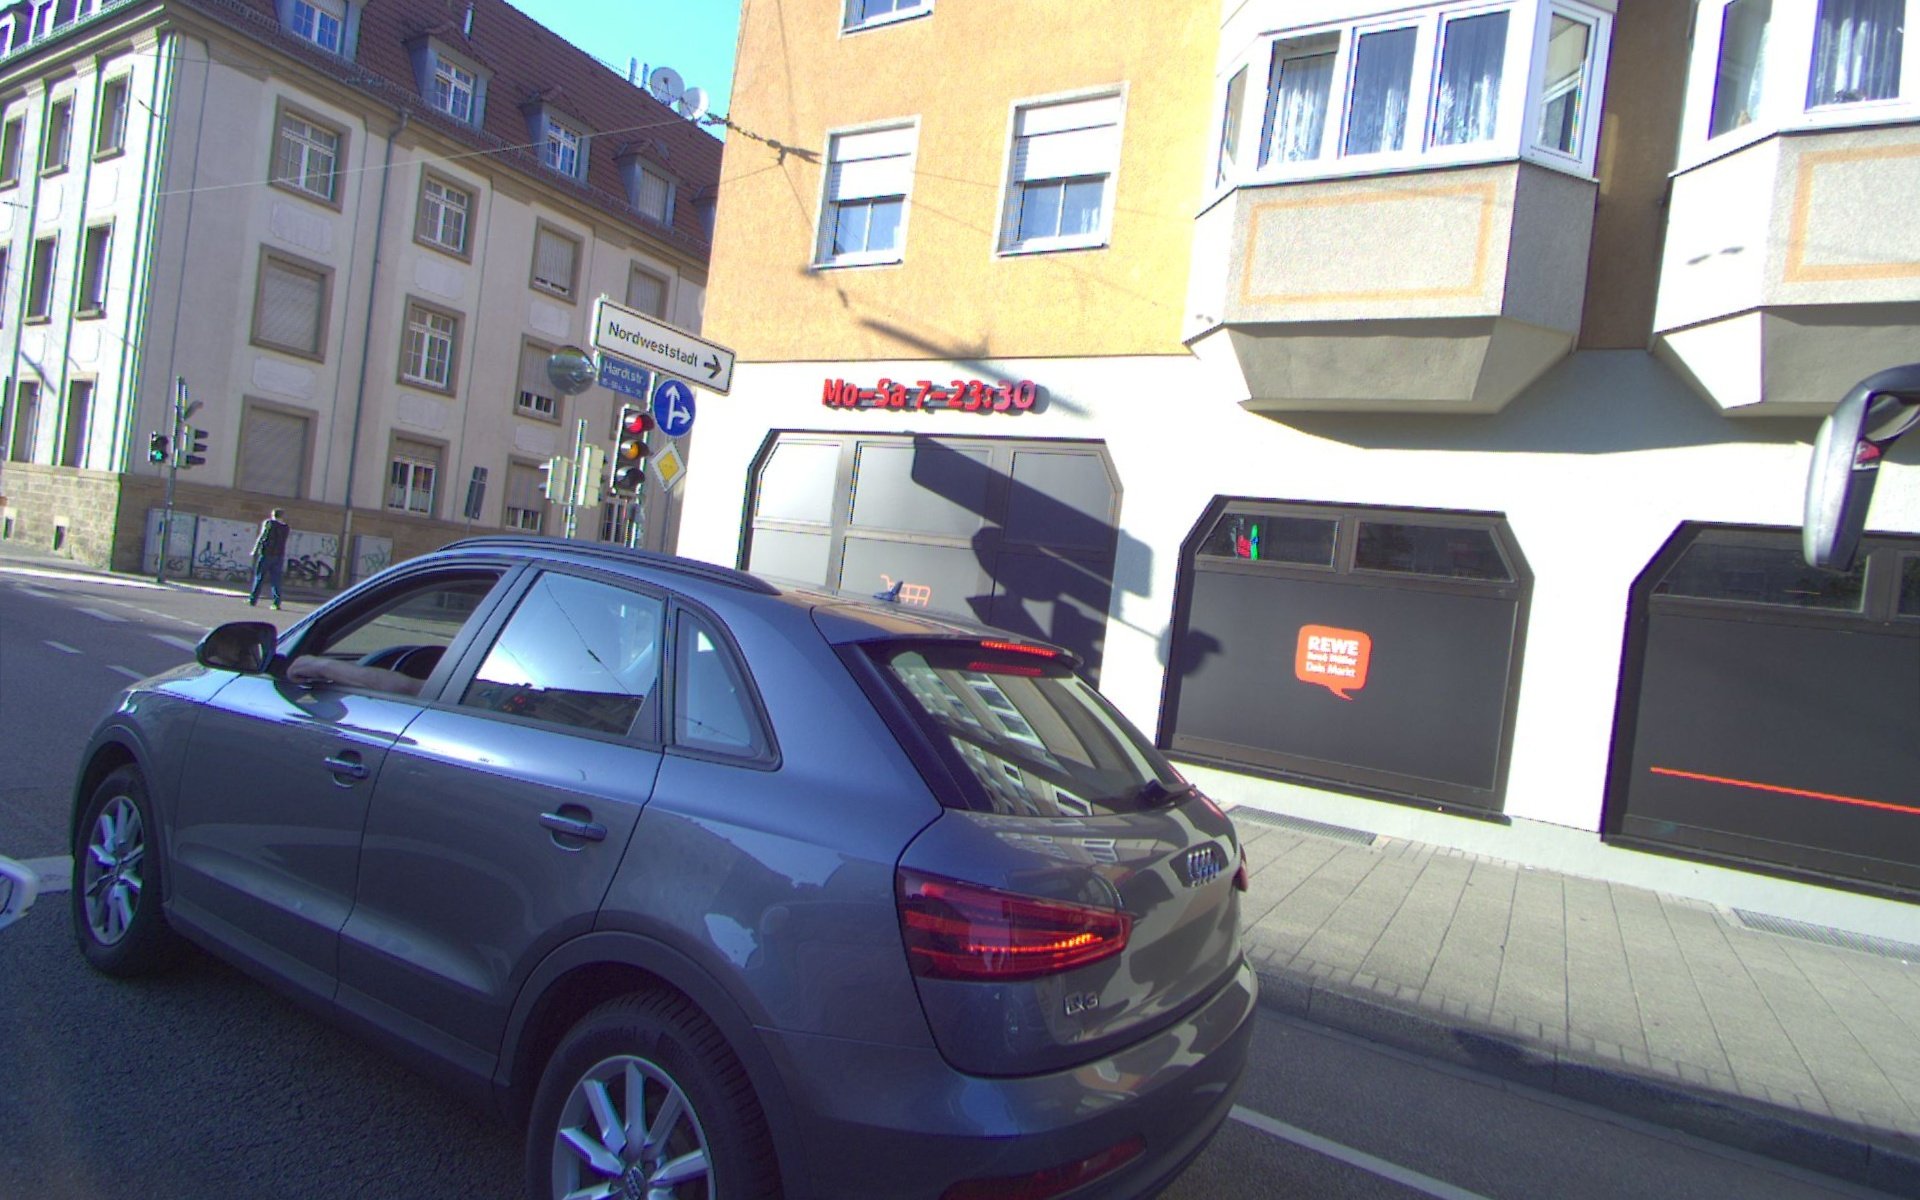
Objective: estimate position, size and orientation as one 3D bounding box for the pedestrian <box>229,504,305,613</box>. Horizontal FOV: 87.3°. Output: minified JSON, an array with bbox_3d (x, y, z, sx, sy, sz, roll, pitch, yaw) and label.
[{"bbox_3d":[-12.061,-0.716,17.511,0.812,1.778,0.630,6,-1,32],"label":"pedestrian"}]

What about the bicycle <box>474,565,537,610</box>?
[{"bbox_3d":[-12.568,-0.342,27.845,1.499,1.029,0.247,9,-2,-43],"label":"bicycle"}]

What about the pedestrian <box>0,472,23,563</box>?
[{"bbox_3d":[-19.603,-1.702,20.180,0.810,1.783,0.837,6,-1,31],"label":"pedestrian"}]

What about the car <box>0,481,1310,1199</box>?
[{"bbox_3d":[-1.264,0.633,3.302,4.155,1.571,1.700,7,-1,32],"label":"car"}]
